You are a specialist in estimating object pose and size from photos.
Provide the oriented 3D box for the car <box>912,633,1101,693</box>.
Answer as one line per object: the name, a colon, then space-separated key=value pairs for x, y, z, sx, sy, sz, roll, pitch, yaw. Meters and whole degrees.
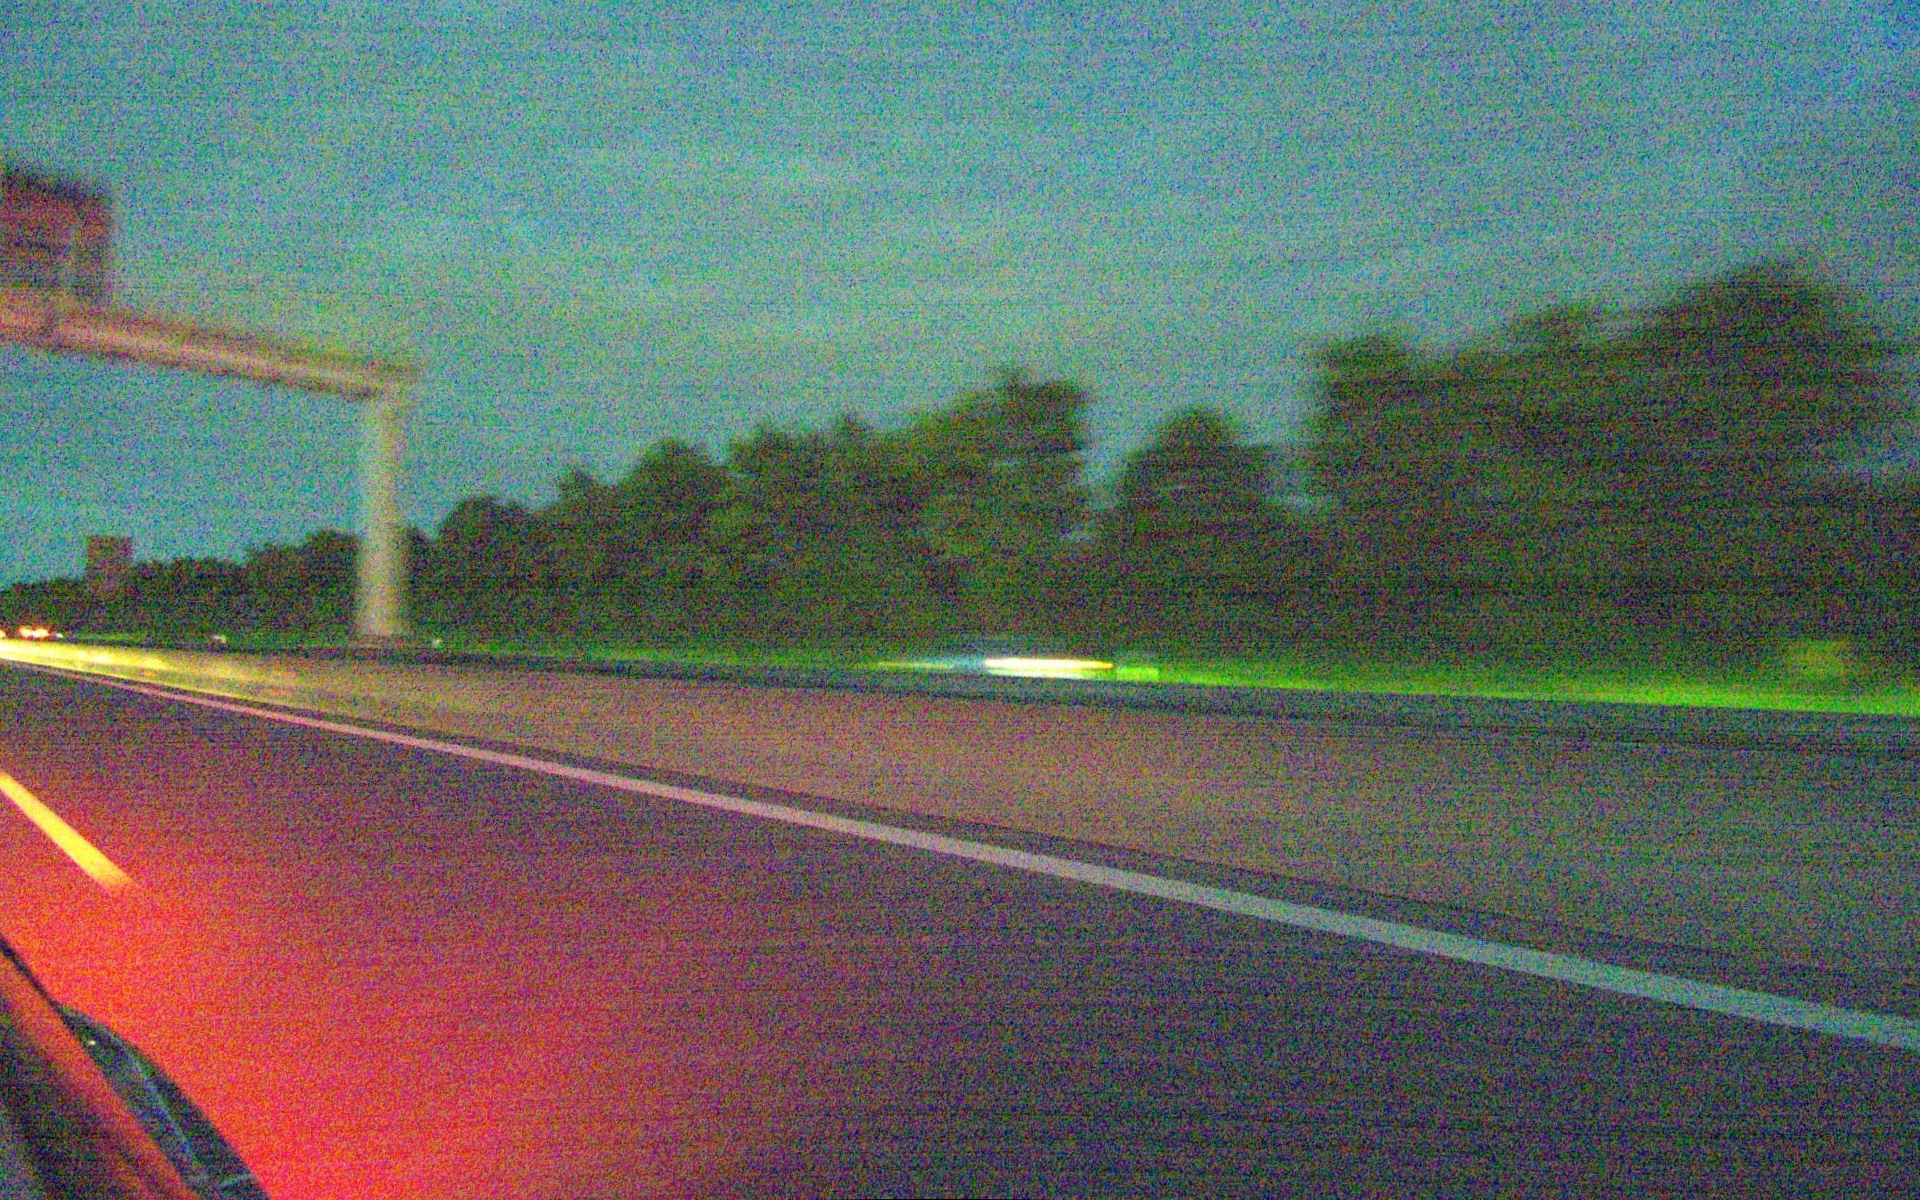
car: x=1.050 y=1.451 z=24.341 sx=4.348 sy=1.292 sz=1.883 roll=-2 pitch=-2 yaw=42

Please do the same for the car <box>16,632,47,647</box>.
car: x=-101.448 y=4.263 z=110.552 sx=4.400 sy=1.630 sz=1.884 roll=-2 pitch=-2 yaw=40
